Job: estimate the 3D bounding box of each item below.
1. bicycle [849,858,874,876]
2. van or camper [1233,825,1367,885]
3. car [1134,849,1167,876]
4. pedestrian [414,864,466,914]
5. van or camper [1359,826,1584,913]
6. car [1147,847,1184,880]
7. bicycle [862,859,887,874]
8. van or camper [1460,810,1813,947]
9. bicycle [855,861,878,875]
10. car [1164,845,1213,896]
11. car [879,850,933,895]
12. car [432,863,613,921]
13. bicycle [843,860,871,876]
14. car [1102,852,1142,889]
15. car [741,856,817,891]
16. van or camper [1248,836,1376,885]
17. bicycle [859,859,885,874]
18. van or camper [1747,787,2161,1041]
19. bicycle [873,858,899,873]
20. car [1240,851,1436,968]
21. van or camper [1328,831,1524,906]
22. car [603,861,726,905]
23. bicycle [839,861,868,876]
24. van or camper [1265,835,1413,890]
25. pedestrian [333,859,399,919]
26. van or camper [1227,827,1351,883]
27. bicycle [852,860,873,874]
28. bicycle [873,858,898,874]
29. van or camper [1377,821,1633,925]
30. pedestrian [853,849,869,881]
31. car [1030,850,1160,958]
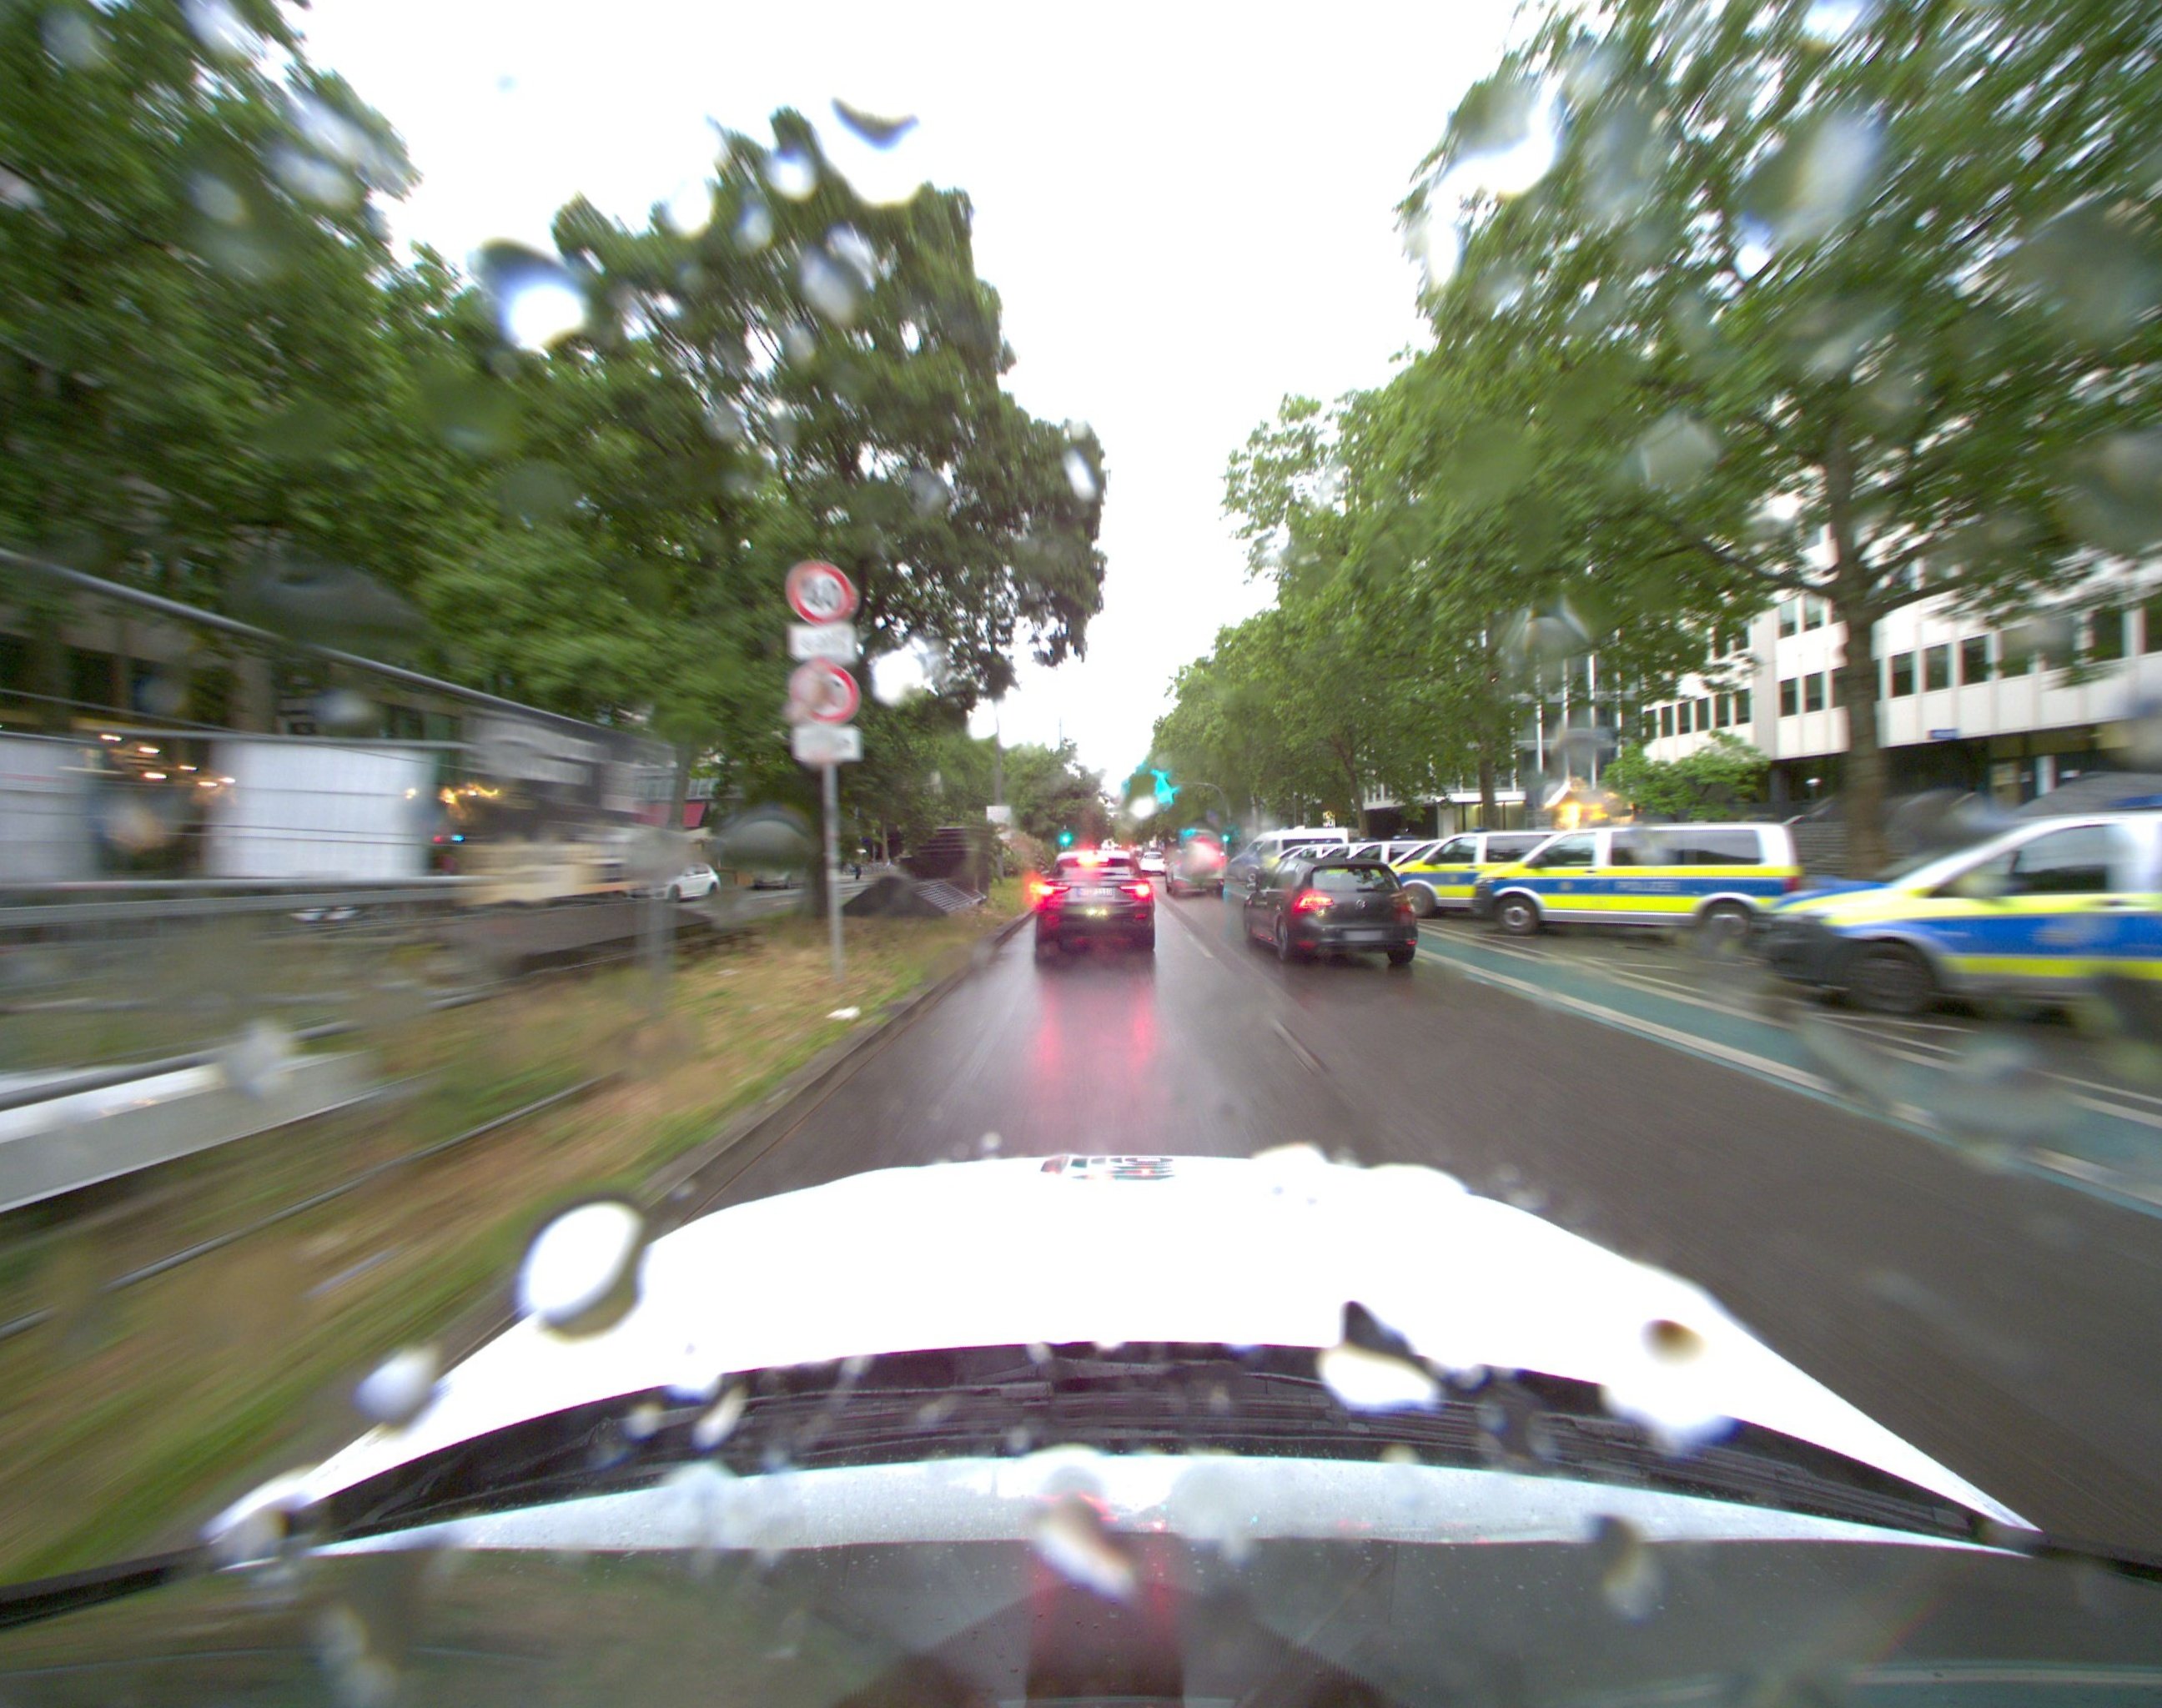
[{"bbox_3d":[-16.018,0.952,59.438,1.615,1.241,0.508,-1,0,-6],"label":"bicycle"},{"bbox_3d":[10.325,0.069,38.618,5.737,2.680,2.013,-1,0,37],"label":"van or camper"},{"bbox_3d":[4.671,0.551,55.204,1.986,1.750,4.003,-1,0,2],"label":"car"},{"bbox_3d":[-18.412,0.992,23.409,0.761,1.380,0.933,-1,0,-1],"label":"pedestrian"},{"bbox_3d":[10.004,0.386,21.049,4.959,1.995,2.013,-1,0,34],"label":"van or camper"},{"bbox_3d":[4.730,0.480,46.241,1.815,1.750,4.003,-1,0,2],"label":"car"},{"bbox_3d":[-16.039,0.982,63.236,1.842,1.136,0.565,-1,0,-6],"label":"bicycle"},{"bbox_3d":[9.395,0.376,14.137,4.792,1.998,1.880,-1,0,38],"label":"van or camper"},{"bbox_3d":[-16.017,1.039,60.866,1.615,0.962,0.508,-1,0,-6],"label":"bicycle"},{"bbox_3d":[3.816,0.545,29.169,1.427,1.685,2.981,-2,0,2],"label":"car"},{"bbox_3d":[-5.773,0.567,27.077,1.046,1.387,2.695,-2,0,3],"label":"car"},{"bbox_3d":[-15.410,0.987,22.814,1.818,1.394,4.486,-1,0,2],"label":"car"},{"bbox_3d":[-16.101,0.985,58.669,1.842,1.098,0.613,-1,0,-6],"label":"bicycle"},{"bbox_3d":[1.853,0.704,37.427,1.715,1.577,3.963,-1,0,2],"label":"car"},{"bbox_3d":[-14.844,0.923,40.314,1.987,1.509,4.517,-2,0,0],"label":"car"},{"bbox_3d":[9.984,0.324,35.439,4.952,2.014,2.013,-1,-1,37],"label":"van or camper"},{"bbox_3d":[-16.065,0.964,62.550,1.818,1.097,0.565,-1,0,-6],"label":"bicycle"},{"bbox_3d":[9.215,0.475,7.276,5.023,2.019,2.009,0,0,38],"label":"van or camper"},{"bbox_3d":[-15.478,0.923,64.671,1.841,1.149,0.565,-2,0,-5],"label":"bicycle"},{"bbox_3d":[3.614,0.697,12.232,1.758,1.413,4.002,-2,0,2],"label":"car"},{"bbox_3d":[10.341,0.404,24.612,5.042,2.025,2.119,-1,0,39],"label":"van or camper"},{"bbox_3d":[-15.071,0.990,29.784,1.986,1.370,4.542,1,0,2],"label":"car"},{"bbox_3d":[-16.127,1.014,57.806,1.839,0.979,0.566,-1,0,-1],"label":"bicycle"},{"bbox_3d":[9.982,0.324,31.741,5.142,1.992,2.013,0,-1,36],"label":"van or camper"},{"bbox_3d":[-18.385,0.880,20.959,0.827,1.488,0.973,-1,0,-1],"label":"pedestrian"},{"bbox_3d":[10.578,0.065,41.752,5.741,2.677,2.161,-1,0,39],"label":"van or camper"},{"bbox_3d":[-16.141,0.969,60.199,1.461,0.979,0.565,-1,0,-6],"label":"bicycle"},{"bbox_3d":[-15.384,0.934,64.101,1.841,1.136,0.565,-2,0,-5],"label":"bicycle"},{"bbox_3d":[9.273,0.391,18.016,4.733,2.011,2.013,-1,-1,38],"label":"van or camper"},{"bbox_3d":[-13.128,0.663,48.652,0.723,1.867,0.841,-1,0,-6],"label":"pedestrian"},{"bbox_3d":[0.332,0.712,14.005,1.855,1.532,4.531,-1,0,3],"label":"car"}]
